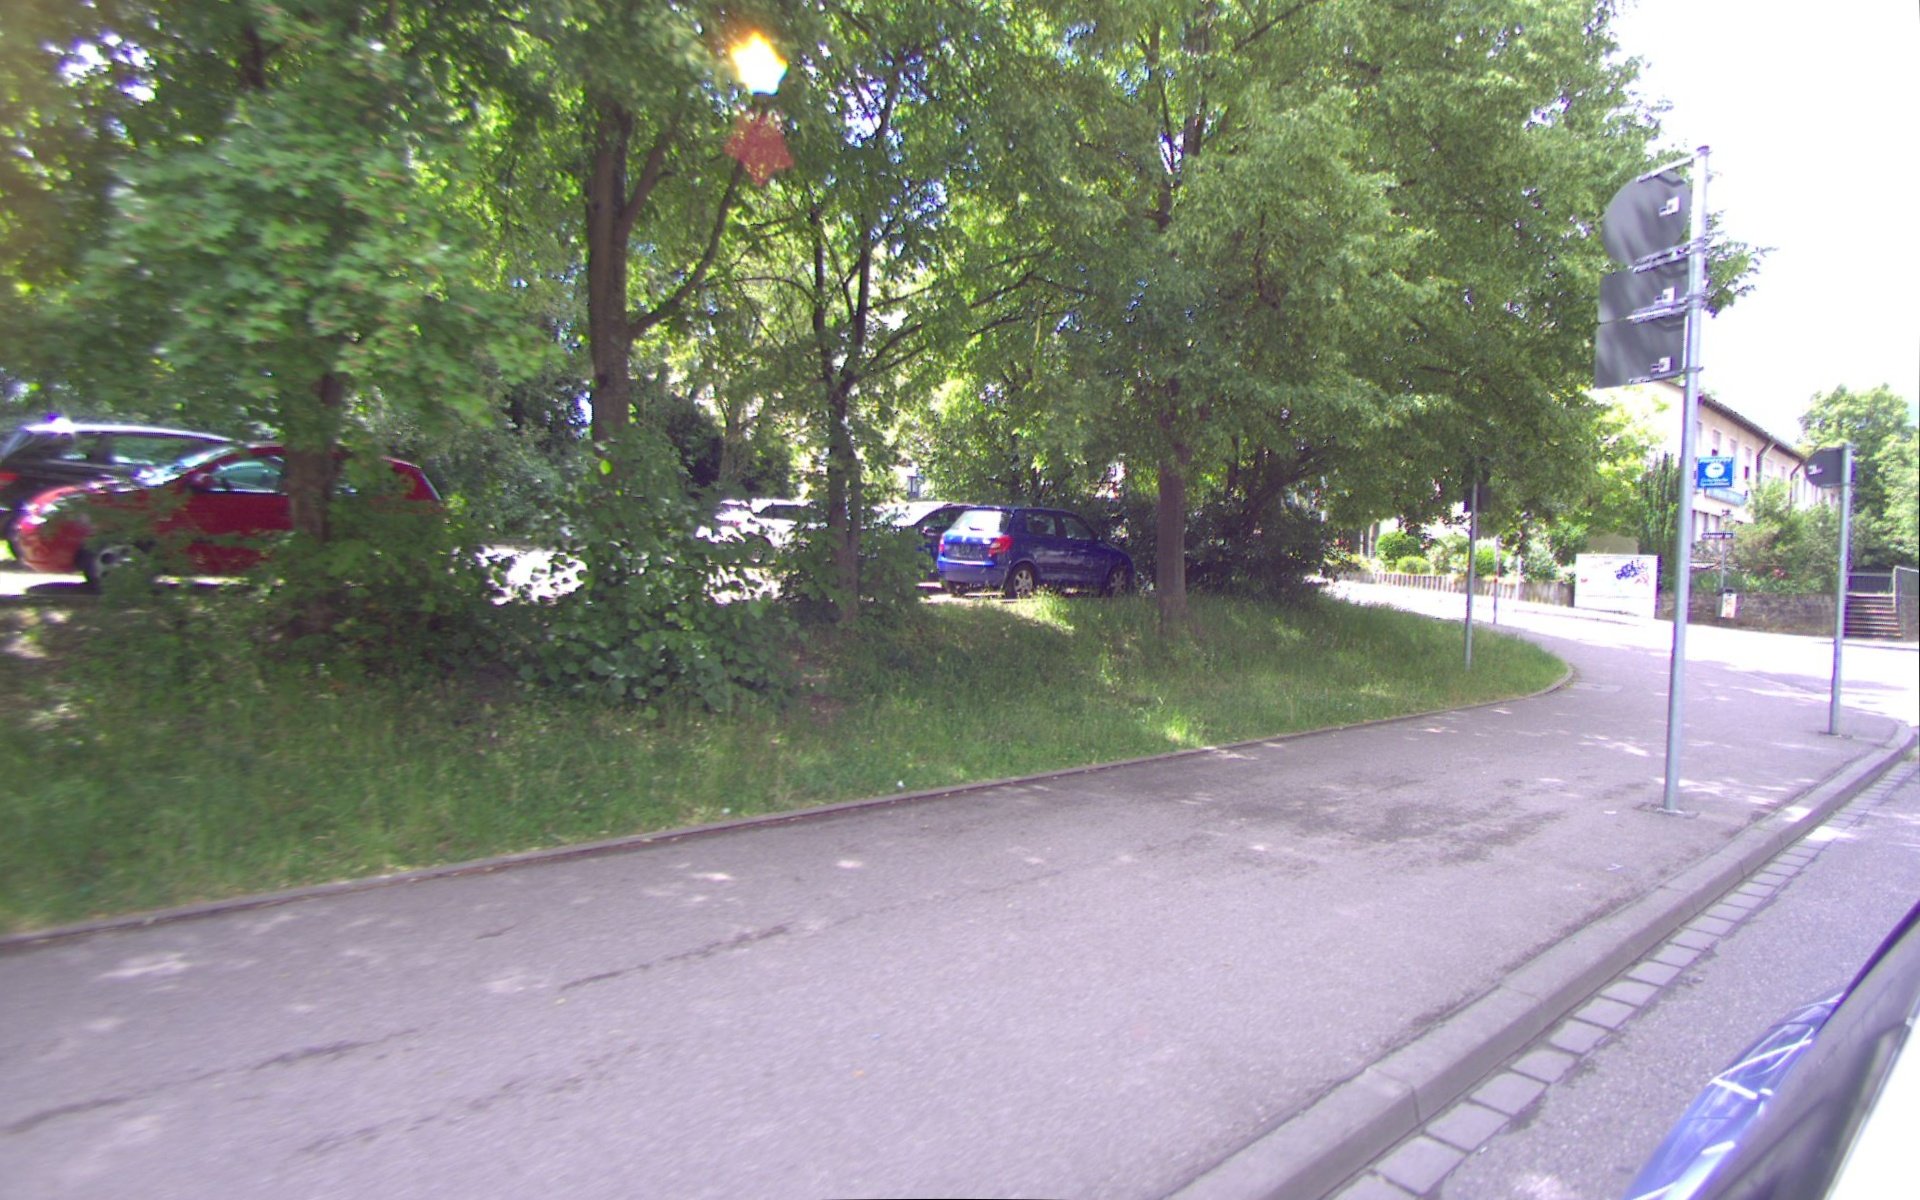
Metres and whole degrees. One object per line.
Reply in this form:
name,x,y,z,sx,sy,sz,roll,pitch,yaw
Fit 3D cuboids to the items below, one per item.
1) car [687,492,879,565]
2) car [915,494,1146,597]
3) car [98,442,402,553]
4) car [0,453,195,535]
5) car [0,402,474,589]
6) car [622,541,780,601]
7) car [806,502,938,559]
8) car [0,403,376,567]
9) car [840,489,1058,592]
car,-3.832,-1.587,22.226,3.859,1.436,1.620,-3,7,-41
car,1.258,-0.933,17.076,3.751,1.529,1.826,-3,5,-43
car,-11.285,-1.580,16.213,3.795,1.459,1.757,0,5,-43
car,-16.708,-1.992,19.038,3.598,1.344,1.635,0,5,-41
car,-7.017,-0.930,10.085,3.598,1.518,1.665,0,5,-41
car,-7.160,-0.803,28.130,3.914,1.486,1.640,0,5,-42
car,-2.742,-2.182,32.056,3.914,1.603,1.640,0,5,-42
car,-9.105,-1.269,11.913,3.598,1.601,1.756,0,5,-41
car,-0.137,-1.115,18.698,3.841,1.653,1.682,-2,8,-43
